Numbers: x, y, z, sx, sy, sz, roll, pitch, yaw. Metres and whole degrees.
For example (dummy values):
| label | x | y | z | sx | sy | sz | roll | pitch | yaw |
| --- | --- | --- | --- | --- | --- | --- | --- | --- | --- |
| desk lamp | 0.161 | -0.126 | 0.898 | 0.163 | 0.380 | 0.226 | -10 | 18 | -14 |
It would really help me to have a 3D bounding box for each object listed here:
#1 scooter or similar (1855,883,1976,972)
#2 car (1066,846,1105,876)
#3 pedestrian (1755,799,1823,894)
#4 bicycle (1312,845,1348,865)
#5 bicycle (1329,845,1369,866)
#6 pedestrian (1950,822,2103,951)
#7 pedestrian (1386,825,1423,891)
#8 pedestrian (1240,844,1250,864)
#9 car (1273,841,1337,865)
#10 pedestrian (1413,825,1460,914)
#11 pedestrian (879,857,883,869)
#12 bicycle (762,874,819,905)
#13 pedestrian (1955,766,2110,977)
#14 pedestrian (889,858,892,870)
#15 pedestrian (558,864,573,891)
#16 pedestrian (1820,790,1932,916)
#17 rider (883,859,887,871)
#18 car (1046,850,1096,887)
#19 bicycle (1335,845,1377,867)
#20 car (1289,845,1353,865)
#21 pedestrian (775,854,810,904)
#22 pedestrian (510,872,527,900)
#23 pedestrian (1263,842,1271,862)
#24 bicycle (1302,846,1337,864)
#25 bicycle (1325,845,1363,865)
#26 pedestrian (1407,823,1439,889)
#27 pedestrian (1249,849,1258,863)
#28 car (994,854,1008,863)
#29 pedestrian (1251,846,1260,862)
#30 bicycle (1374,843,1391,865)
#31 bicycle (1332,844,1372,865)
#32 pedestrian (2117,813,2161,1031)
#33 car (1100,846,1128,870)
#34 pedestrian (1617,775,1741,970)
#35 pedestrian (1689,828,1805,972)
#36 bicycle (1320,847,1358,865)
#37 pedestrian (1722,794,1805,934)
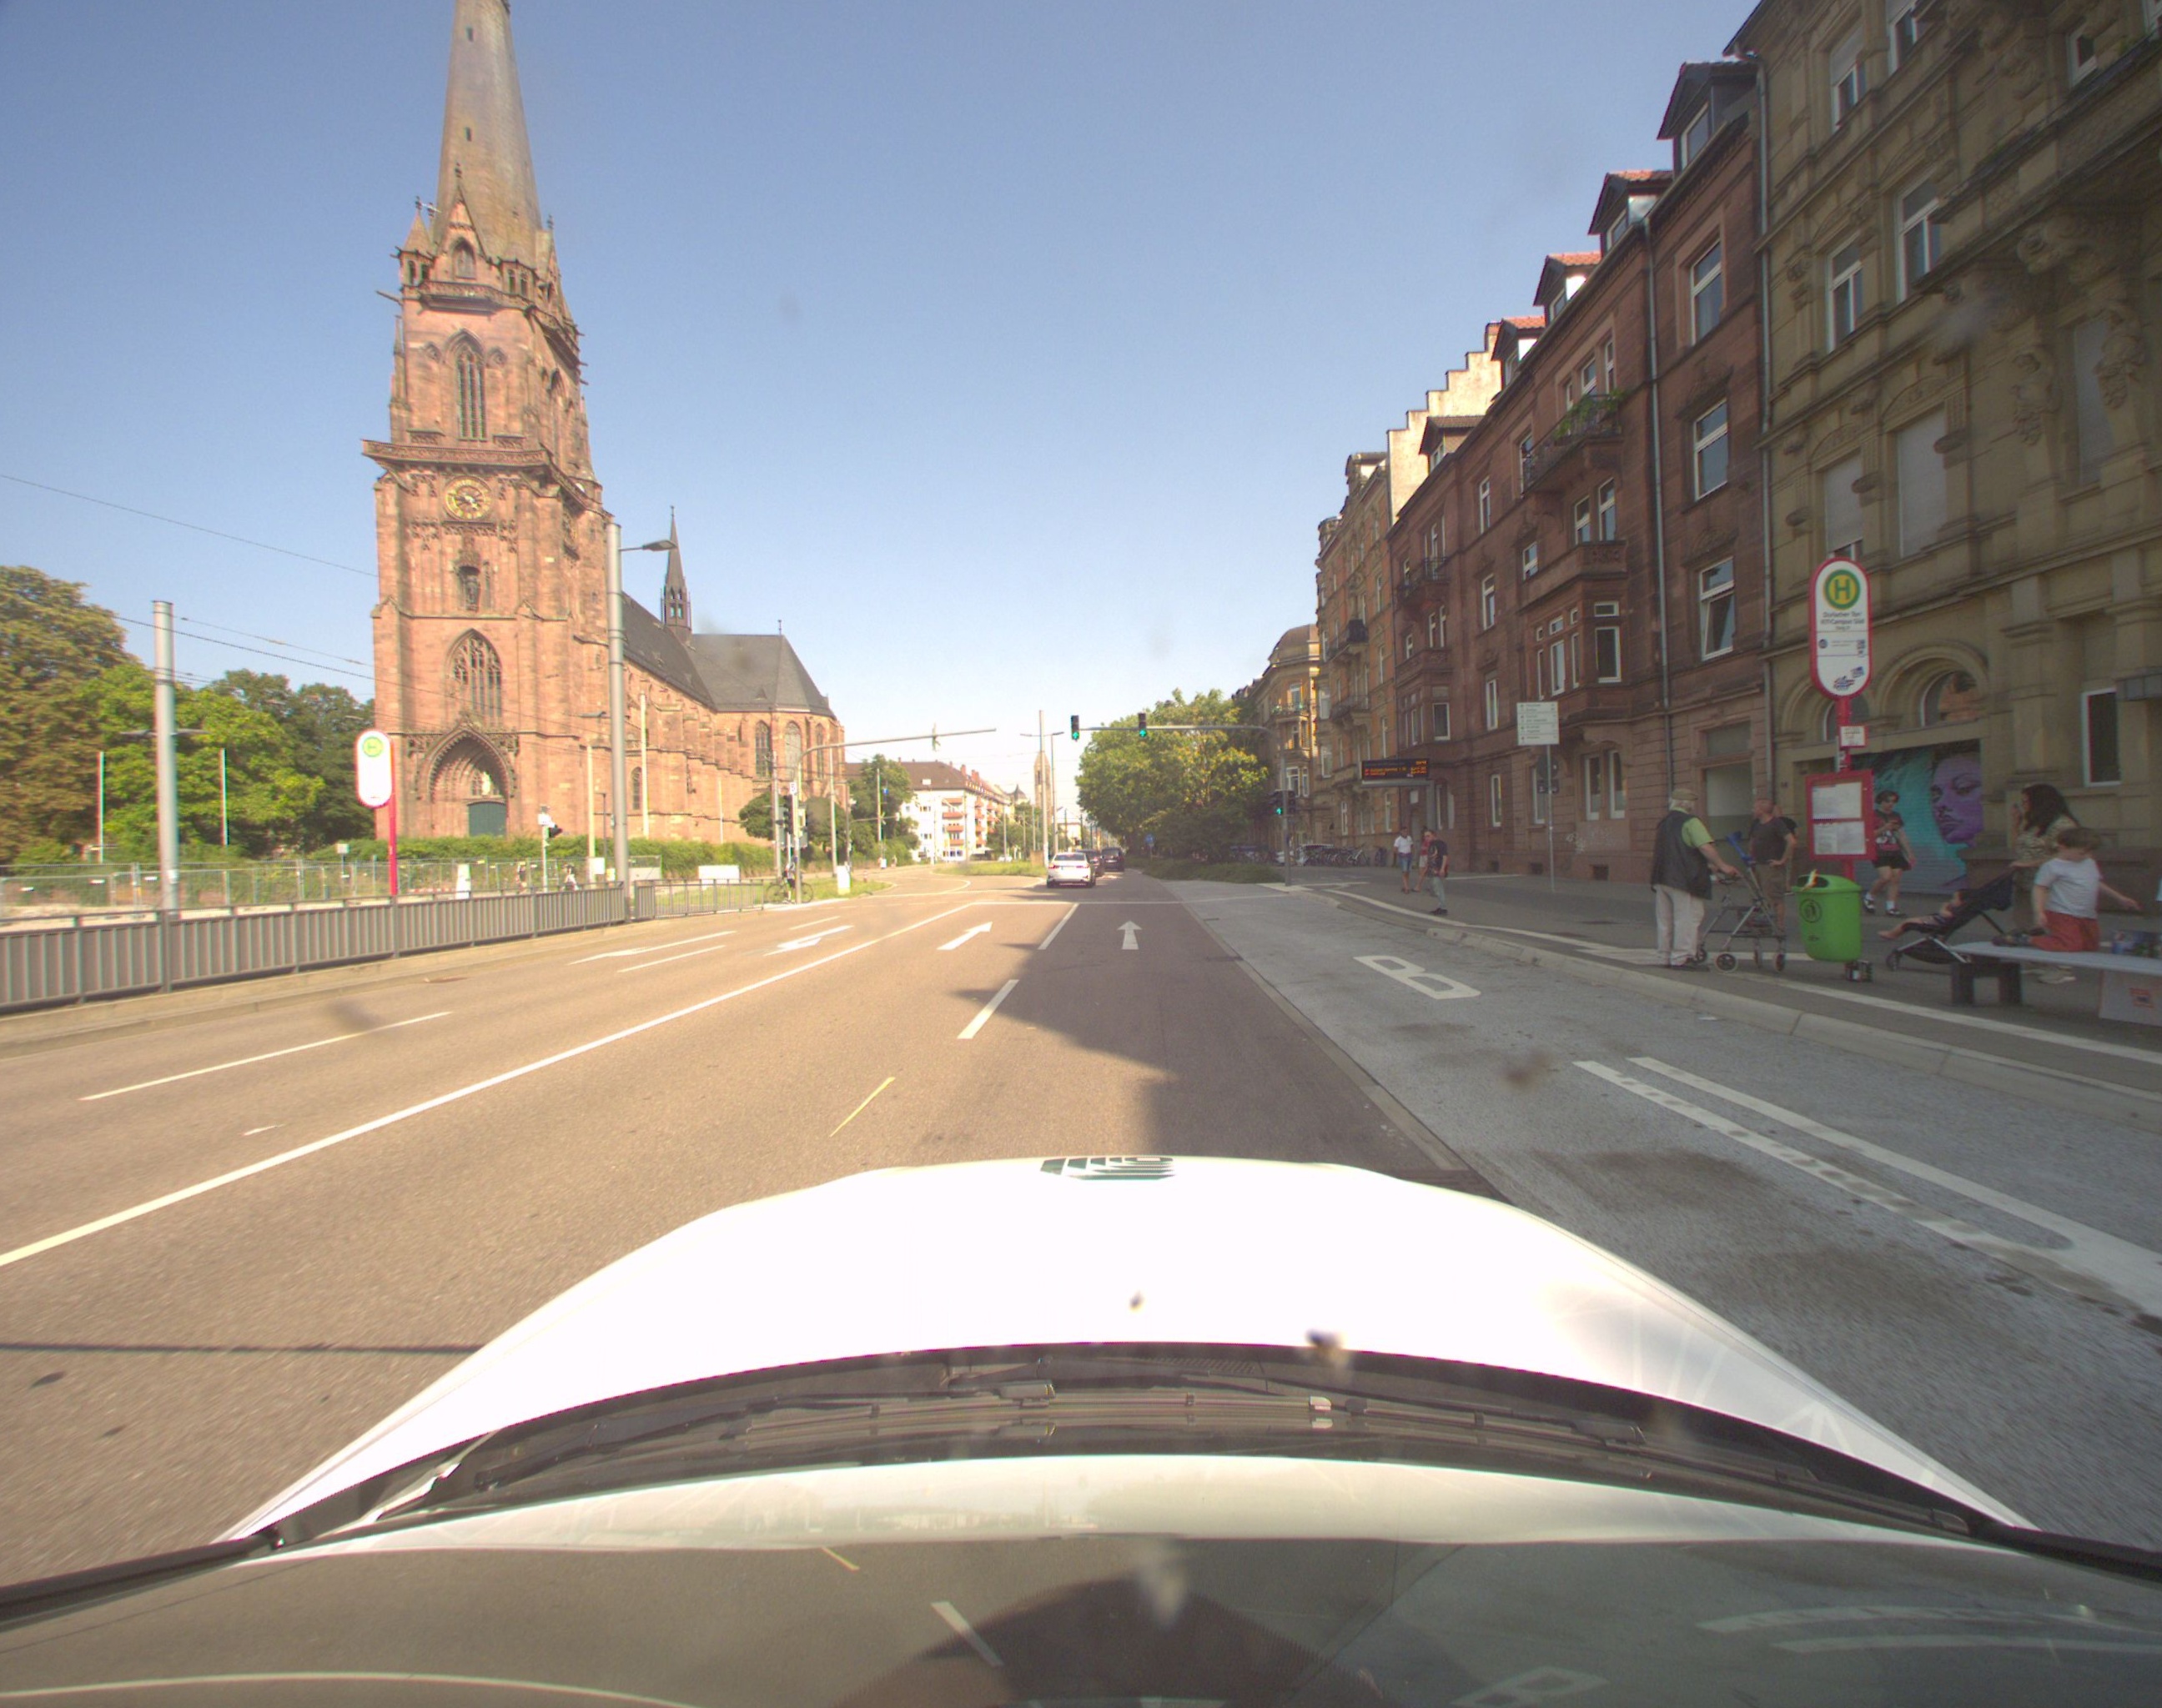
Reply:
| label | x | y | z | sx | sy | sz | roll | pitch | yaw |
| --- | --- | --- | --- | --- | --- | --- | --- | --- | --- |
| scooter or similar | 7.639 | 0.660 | 7.476 | 0.563 | 0.741 | 0.514 | -2 | 0 | 0 |
| car | 0.311 | 0.384 | 47.381 | 1.985 | 1.621 | 4.361 | -1 | 0 | 4 |
| pedestrian | 13.311 | -0.142 | 15.321 | 0.627 | 1.719 | 0.691 | -2 | 0 | 3 |
| bicycle | 14.280 | 0.063 | 46.743 | 1.923 | 1.048 | 0.527 | -2 | 0 | -3 |
| bicycle | 14.146 | 0.068 | 43.057 | 1.923 | 1.048 | 0.499 | -2 | 0 | -3 |
| pedestrian | 6.397 | 0.209 | 5.533 | 0.302 | 0.820 | 0.603 | -2 | 0 | -4 |
| pedestrian | 8.300 | 0.097 | 20.920 | 0.687 | 1.664 | 0.620 | -2 | 0 | 3 |
| pedestrian | 12.320 | -0.029 | 61.234 | 0.571 | 1.454 | 0.732 | -2 | 0 | 4 |
| car | 16.769 | -0.073 | 61.025 | 4.168 | 1.563 | 1.999 | -2 | 0 | -1 |
| pedestrian | 6.649 | 0.282 | 15.246 | 0.526 | 1.612 | 0.703 | -2 | 0 | 0 |
| pedestrian | -25.007 | 1.148 | 101.778 | 0.303 | 1.518 | 0.341 | -2 | 0 | -1 |
| bicycle | -10.087 | 1.238 | 28.272 | 1.752 | 0.978 | 0.479 | -2 | 0 | 1 |
| pedestrian | 8.229 | 0.145 | 7.069 | 0.563 | 1.729 | 0.617 | -2 | 0 | 0 |
| pedestrian | -24.319 | 1.271 | 104.063 | 0.303 | 1.518 | 0.341 | -2 | 0 | -1 |
| pedestrian | -31.288 | 1.423 | 49.436 | 0.542 | 1.576 | 0.659 | -2 | 0 | -17 |
| pedestrian | 11.437 | -0.019 | 11.754 | 0.698 | 1.724 | 0.898 | -2 | 0 | 3 |
| rider | -23.197 | 1.312 | 96.454 | 0.304 | 1.431 | 0.251 | -2 | 0 | 17 |
| car | -0.342 | 0.562 | 33.997 | 1.801 | 1.427 | 4.778 | 0 | 0 | 3 |
| bicycle | 14.047 | 0.090 | 41.597 | 1.923 | 1.048 | 0.499 | -2 | 0 | -3 |
| car | 16.463 | 0.046 | 55.905 | 3.925 | 1.222 | 1.546 | -2 | 0 | -2 |
| pedestrian | -9.997 | 0.873 | 28.262 | 0.913 | 1.679 | 0.602 | -2 | 0 | 2 |
| pedestrian | -31.813 | 1.810 | 46.073 | 0.490 | 1.576 | 0.553 | -2 | 0 | 2 |
| pedestrian | 14.506 | -0.147 | 63.346 | 0.442 | 1.506 | 0.487 | -2 | 0 | -2 |
| bicycle | 14.541 | 0.070 | 49.706 | 1.923 | 1.048 | 0.527 | -2 | 0 | -3 |
| bicycle | 14.413 | 0.063 | 44.636 | 1.923 | 1.048 | 0.499 | -2 | 0 | -3 |
| pedestrian | 9.049 | 0.051 | 21.556 | 0.479 | 1.702 | 0.703 | -2 | 0 | 0 |
| pedestrian | 13.159 | 0.153 | 62.214 | 0.446 | 1.070 | 0.483 | -2 | 0 | -27 |
| car | -14.472 | 0.793 | 147.067 | 1.986 | 1.500 | 4.001 | -2 | 0 | 1 |
| pedestrian | 13.988 | -0.012 | 65.396 | 0.595 | 1.248 | 0.507 | -2 | 0 | 2 |
| bicycle | 14.837 | -0.009 | 40.121 | 0.414 | 1.048 | 1.674 | -2 | 0 | 9 |
| bicycle | 14.097 | 0.020 | 42.345 | 1.923 | 1.048 | 0.499 | -2 | 0 | -3 |
| pedestrian | 6.432 | 0.394 | 4.704 | 0.274 | 1.274 | 0.447 | -2 | 0 | -4 |
| car | 2.395 | 0.245 | 58.014 | 1.824 | 1.621 | 4.361 | -1 | 0 | 4 |
| pedestrian | 5.611 | 0.165 | 7.678 | 0.563 | 1.729 | 0.745 | -2 | 0 | 0 |
| pedestrian | 6.241 | 0.413 | 7.656 | 0.563 | 1.277 | 0.597 | -2 | 0 | -1 |
| bicycle | 14.359 | 0.113 | 45.389 | 1.923 | 0.950 | 0.499 | -2 | 0 | -3 |
| pedestrian | 8.765 | 0.122 | 10.486 | 0.340 | 1.732 | 0.805 | -2 | 0 | 0 |
